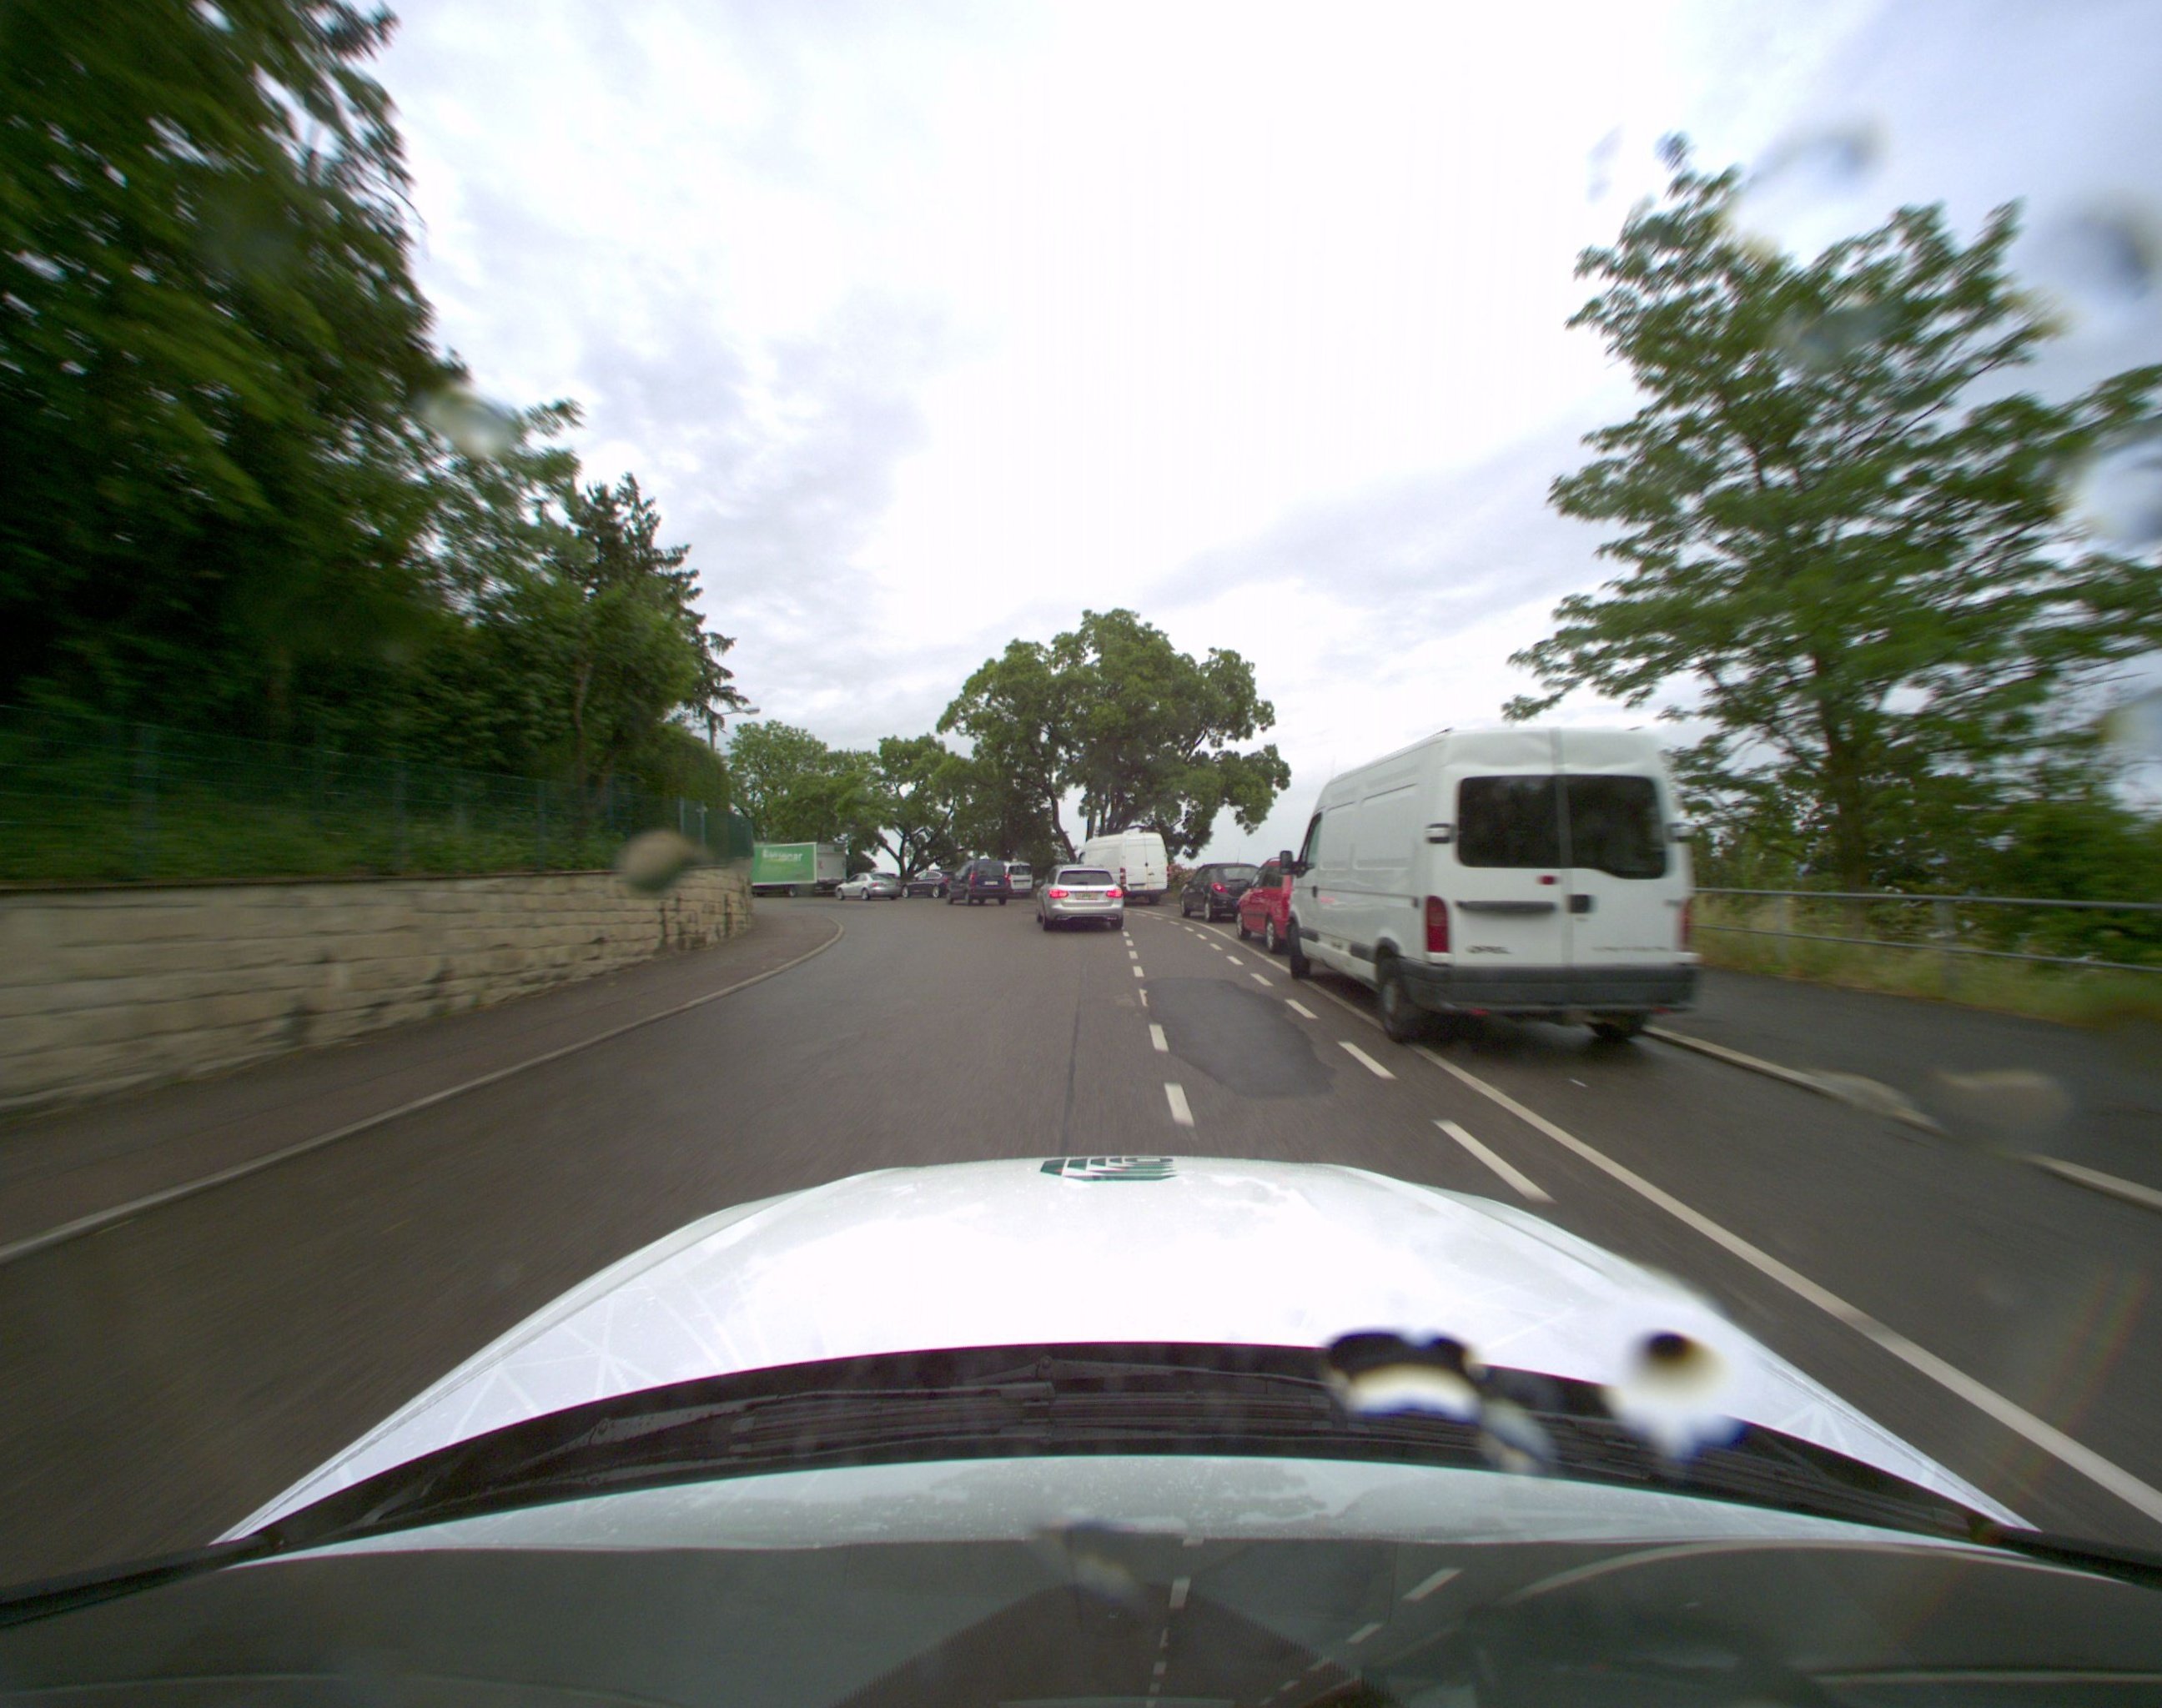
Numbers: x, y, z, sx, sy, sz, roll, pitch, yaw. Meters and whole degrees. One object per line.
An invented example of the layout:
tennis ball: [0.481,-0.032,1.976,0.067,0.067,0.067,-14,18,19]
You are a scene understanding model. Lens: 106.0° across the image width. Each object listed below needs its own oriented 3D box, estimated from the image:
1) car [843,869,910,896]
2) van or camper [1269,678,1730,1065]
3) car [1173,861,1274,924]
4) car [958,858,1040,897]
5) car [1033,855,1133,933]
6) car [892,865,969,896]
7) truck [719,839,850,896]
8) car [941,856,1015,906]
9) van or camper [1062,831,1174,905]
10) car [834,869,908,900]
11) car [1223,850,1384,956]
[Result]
car: [-12.369,1.720,49.102,4.082,1.503,1.750,-2,-1,38]
van or camper: [3.547,0.127,8.458,2.066,2.661,5.599,-1,0,2]
car: [3.652,0.927,21.521,1.692,1.444,3.941,-2,0,-4]
car: [-4.206,1.179,41.252,1.762,1.821,4.368,-2,-1,-44]
car: [-0.072,0.857,19.334,1.979,1.553,4.291,-2,0,-5]
car: [-8.480,1.485,45.565,1.877,1.542,4.834,-2,-1,-44]
truck: [-19.560,0.927,53.534,8.821,3.471,2.799,-2,-1,27]
car: [-4.325,1.075,33.643,1.833,1.883,4.061,-2,0,-25]
van or camper: [1.282,0.530,31.873,2.075,2.580,5.844,-2,0,-22]
car: [-10.940,1.592,42.247,4.044,1.458,1.871,-2,-1,45]
car: [3.723,0.746,14.368,1.615,1.540,4.214,-2,0,0]
